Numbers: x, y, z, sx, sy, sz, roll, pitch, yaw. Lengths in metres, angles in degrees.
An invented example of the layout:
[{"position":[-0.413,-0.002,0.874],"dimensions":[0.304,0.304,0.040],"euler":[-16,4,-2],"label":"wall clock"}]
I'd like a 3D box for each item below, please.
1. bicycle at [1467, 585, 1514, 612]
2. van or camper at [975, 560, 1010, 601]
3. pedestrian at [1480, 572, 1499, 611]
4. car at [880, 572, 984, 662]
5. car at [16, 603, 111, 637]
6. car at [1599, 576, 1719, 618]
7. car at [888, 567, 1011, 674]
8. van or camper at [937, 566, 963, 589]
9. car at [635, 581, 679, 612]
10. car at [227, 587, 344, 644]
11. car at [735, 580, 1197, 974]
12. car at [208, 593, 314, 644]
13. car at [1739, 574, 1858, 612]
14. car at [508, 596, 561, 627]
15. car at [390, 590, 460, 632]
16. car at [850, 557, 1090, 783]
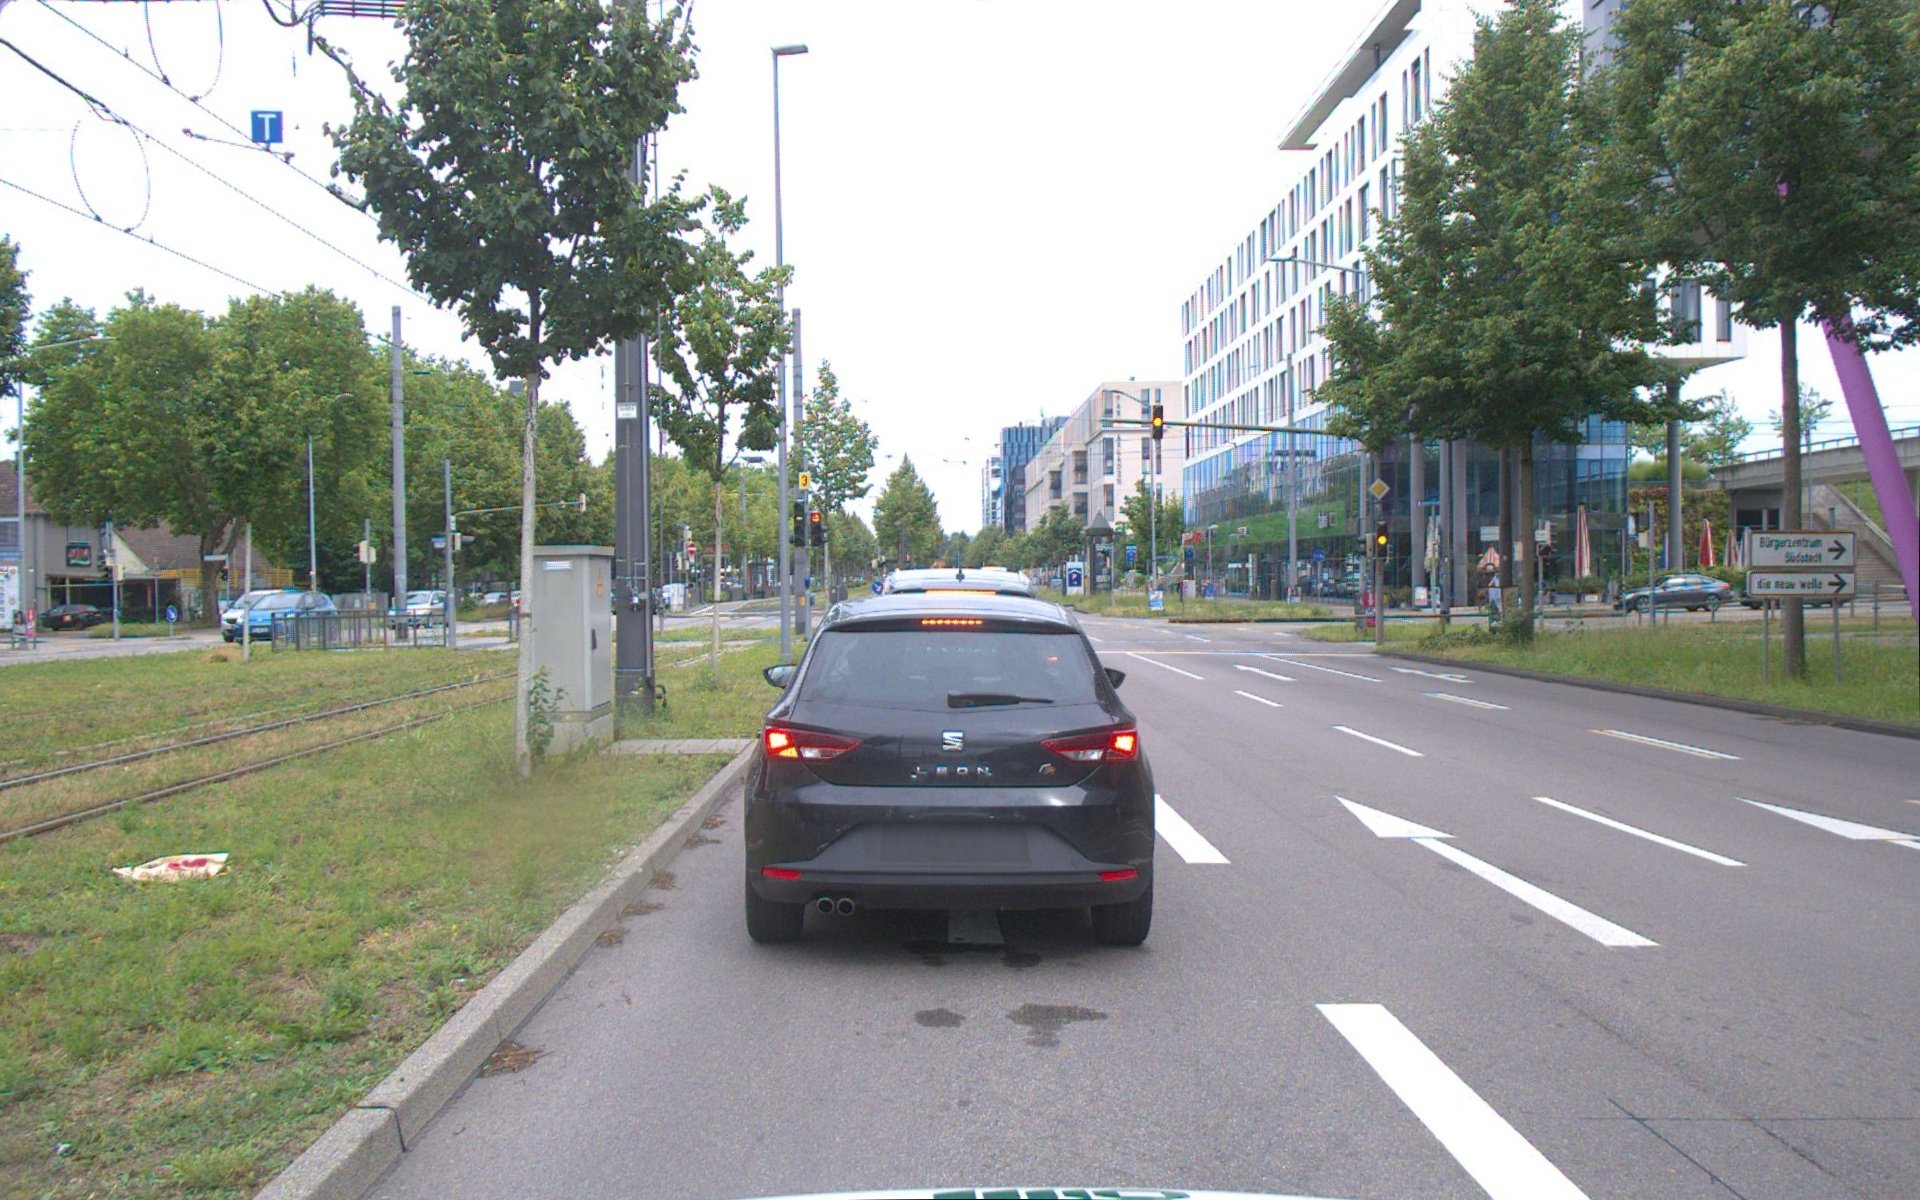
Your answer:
[{"position":[22.215,-0.082,69.235],"dimensions":[1.755,1.104,0.618],"euler":[-1,1,1],"label":"bicycle"},{"position":[2.014,-1.223,102.620],"dimensions":[2.066,2.396,4.924],"euler":[0,3,0],"label":"van or camper"},{"position":[22.180,-0.350,69.232],"dimensions":[0.602,1.632,0.619],"euler":[-1,0,1],"label":"pedestrian"},{"position":[-0.506,0.301,33.985],"dimensions":[1.952,1.711,4.001],"euler":[1,1,1],"label":"car"},{"position":[-50.500,1.125,93.238],"dimensions":[4.190,1.847,2.108],"euler":[-1,1,3],"label":"car"},{"position":[28.481,-0.128,67.457],"dimensions":[4.163,1.643,1.758],"euler":[-1,1,1],"label":"car"},{"position":[-0.119,0.304,28.824],"dimensions":[1.952,1.711,4.001],"euler":[1,1,2],"label":"car"},{"position":[-0.737,-1.712,123.726],"dimensions":[1.953,1.643,4.789],"euler":[0,2,0],"label":"van or camper"},{"position":[-18.392,-0.236,100.561],"dimensions":[1.953,1.780,4.199],"euler":[-1,1,-2],"label":"car"},{"position":[-20.481,0.445,50.437],"dimensions":[1.925,1.616,4.685],"euler":[0,1,-4],"label":"car"},{"position":[-0.029,0.642,8.163],"dimensions":[1.708,1.442,3.999],"euler":[1,1,-2],"label":"car"},{"position":[-23.530,0.604,55.851],"dimensions":[1.760,1.598,4.576],"euler":[2,0,-3],"label":"car"},{"position":[34.388,-0.285,67.864],"dimensions":[3.996,1.480,1.758],"euler":[-1,1,1],"label":"car"},{"position":[-23.394,0.598,90.981],"dimensions":[1.759,1.598,4.328],"euler":[-1,1,0],"label":"car"},{"position":[-22.960,0.431,71.131],"dimensions":[1.686,1.672,4.672],"euler":[-1,1,-3],"label":"car"},{"position":[0.049,0.493,14.276],"dimensions":[1.766,1.652,3.999],"euler":[-1,1,-1],"label":"car"}]
